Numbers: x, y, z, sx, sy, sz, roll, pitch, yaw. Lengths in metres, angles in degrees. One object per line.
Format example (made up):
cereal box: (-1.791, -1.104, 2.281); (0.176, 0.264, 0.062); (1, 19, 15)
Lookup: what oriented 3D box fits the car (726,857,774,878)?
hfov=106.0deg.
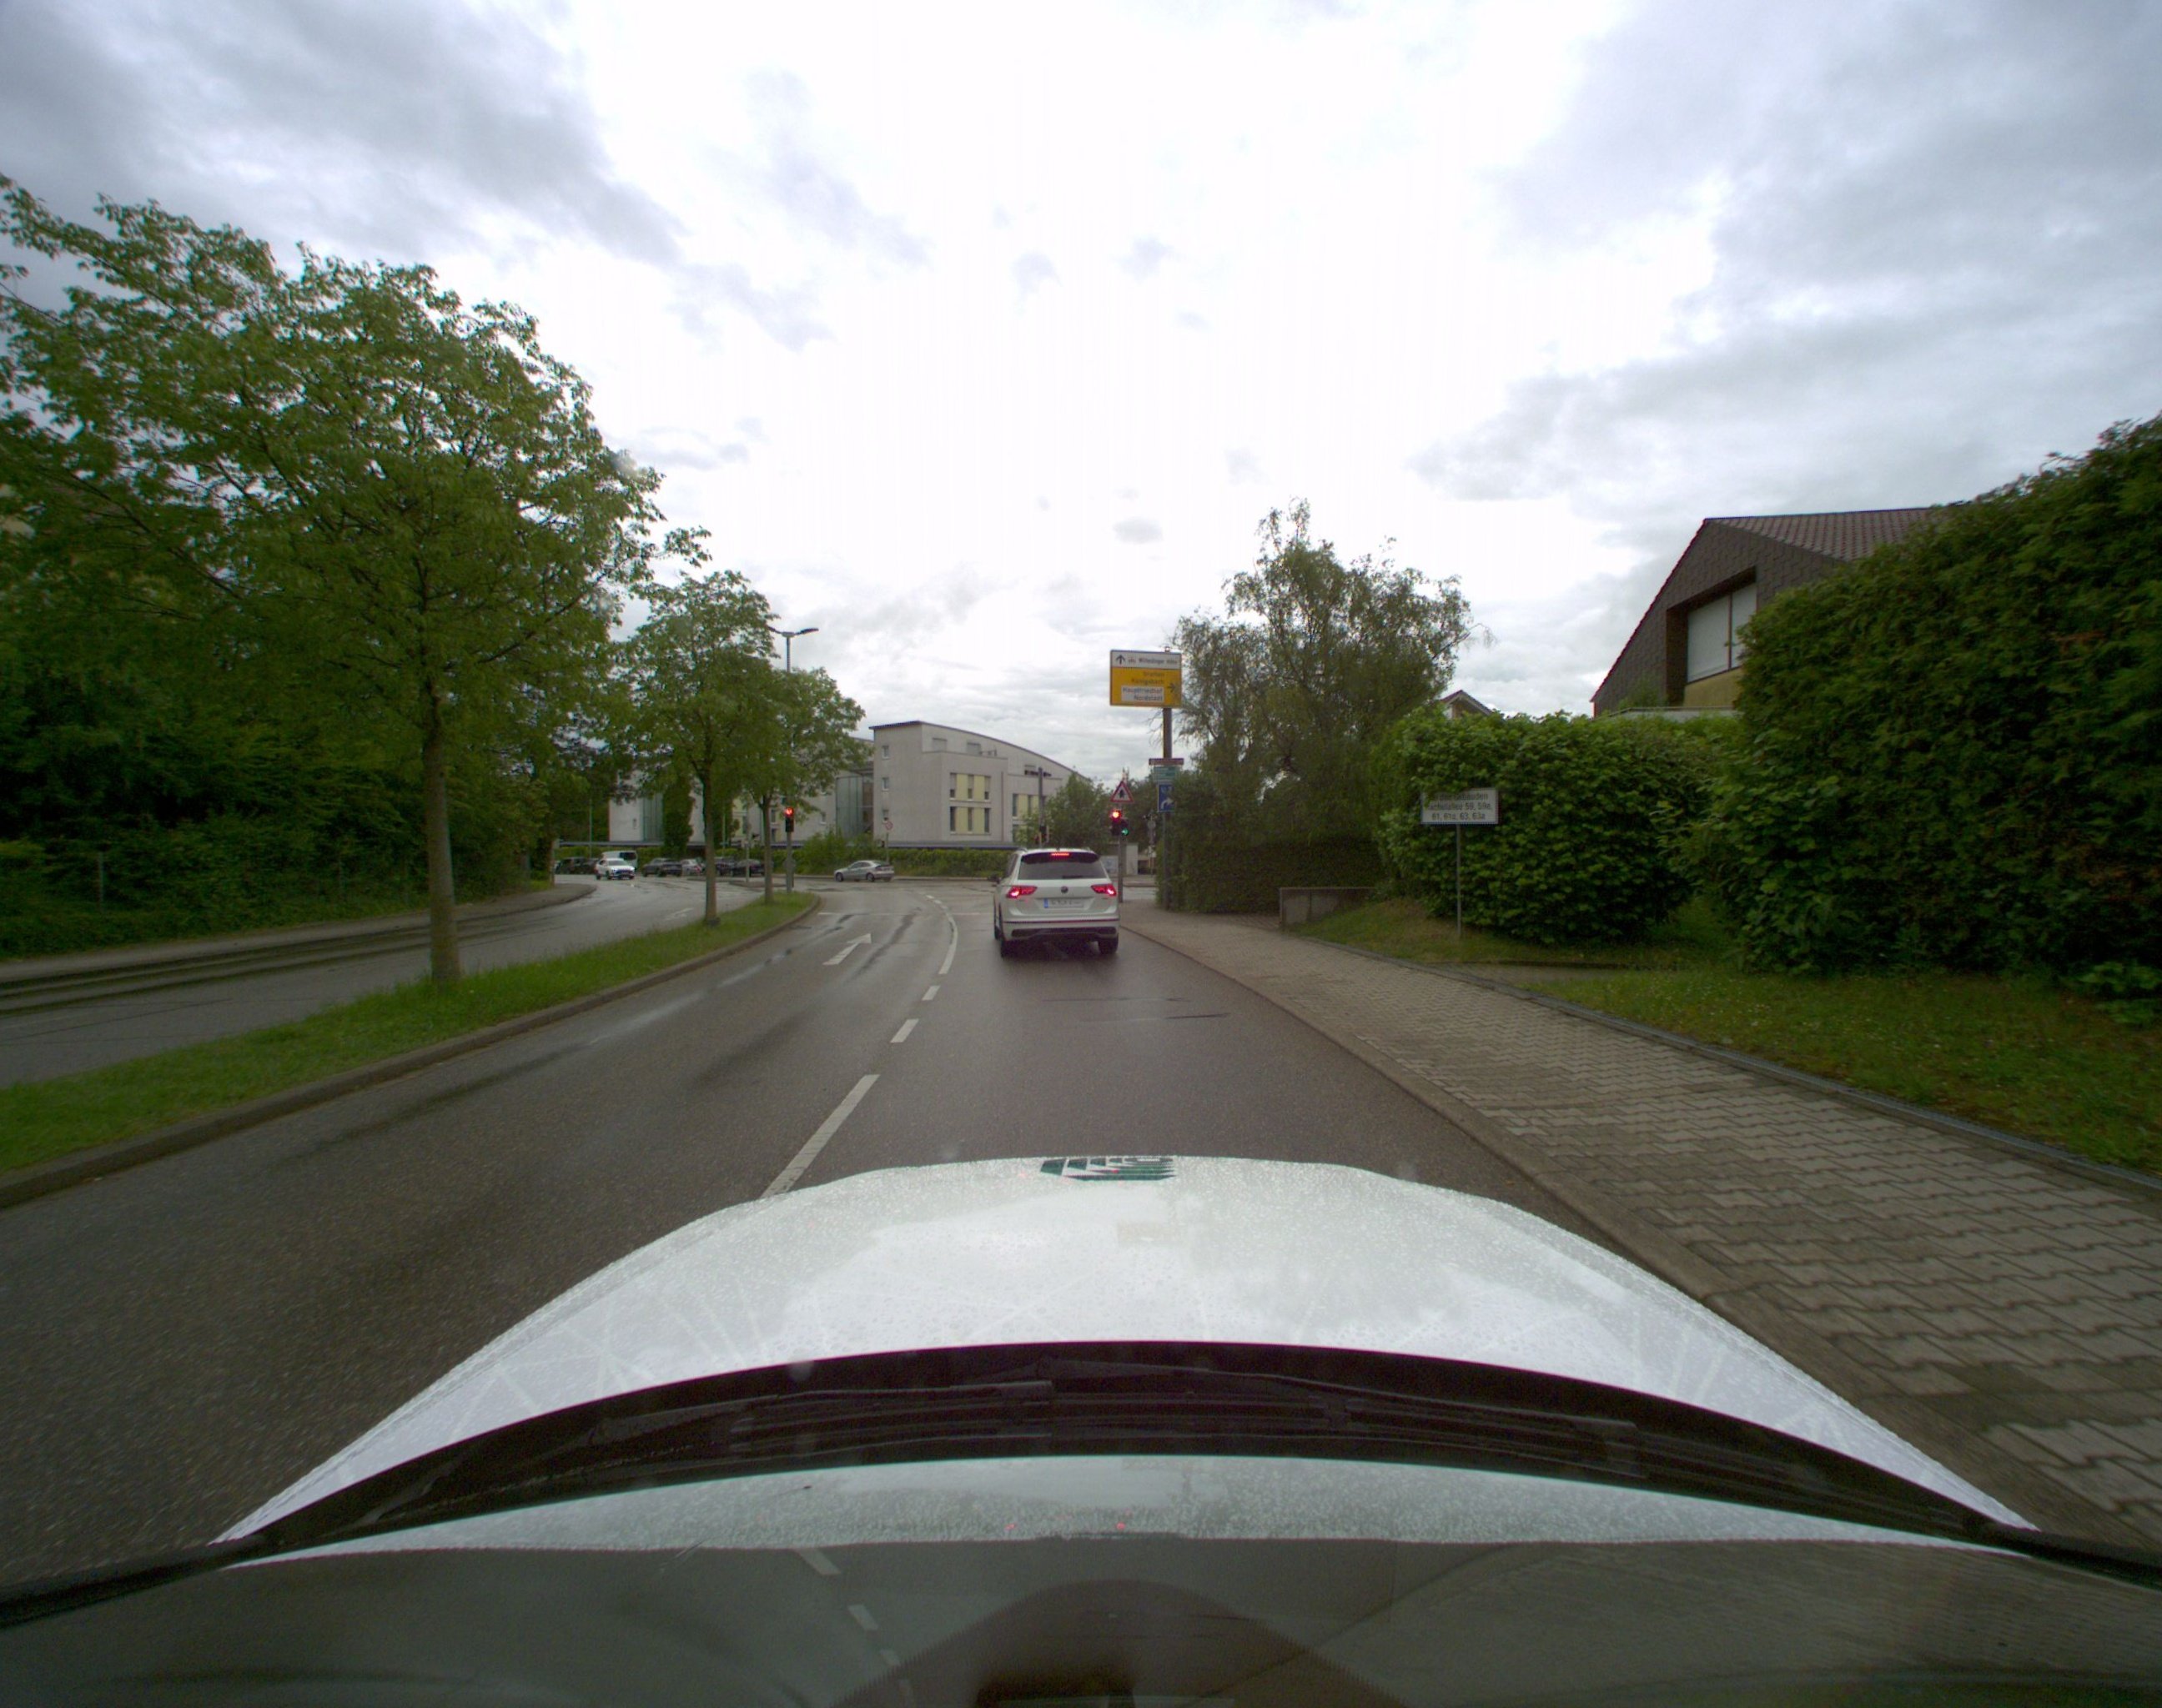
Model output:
car: (-27.611, 1.107, 67.920); (3.948, 1.555, 2.013); (0, 1, 38)

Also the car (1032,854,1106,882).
car: (-0.683, 0.814, 48.542); (3.958, 1.555, 2.008); (0, 1, 14)

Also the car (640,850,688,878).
car: (-35.454, 0.821, 69.191); (3.949, 2.013, 1.993); (4, 3, 35)

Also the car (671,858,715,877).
car: (-35.041, 1.185, 73.494); (3.949, 1.555, 2.013); (1, 1, 38)

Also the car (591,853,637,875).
car: (-36.171, 0.750, 63.062); (3.950, 1.640, 2.012); (1, 1, 44)

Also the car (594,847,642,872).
car: (-47.158, 0.573, 82.941); (5.188, 2.413, 2.617); (-3, -1, 41)

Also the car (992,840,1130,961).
car: (-0.508, 0.678, 13.864); (1.919, 1.722, 4.253); (0, -1, -8)

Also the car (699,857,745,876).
car: (-31.172, 1.042, 70.643); (3.948, 1.555, 2.013); (0, 1, 38)

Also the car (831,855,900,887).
car: (-13.978, 1.063, 52.839); (3.951, 1.757, 2.012); (4, 3, 27)

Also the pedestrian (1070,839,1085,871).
pedestrian: (-0.221, 0.054, 52.964); (0.793, 2.013, 0.853); (1, 2, 13)
